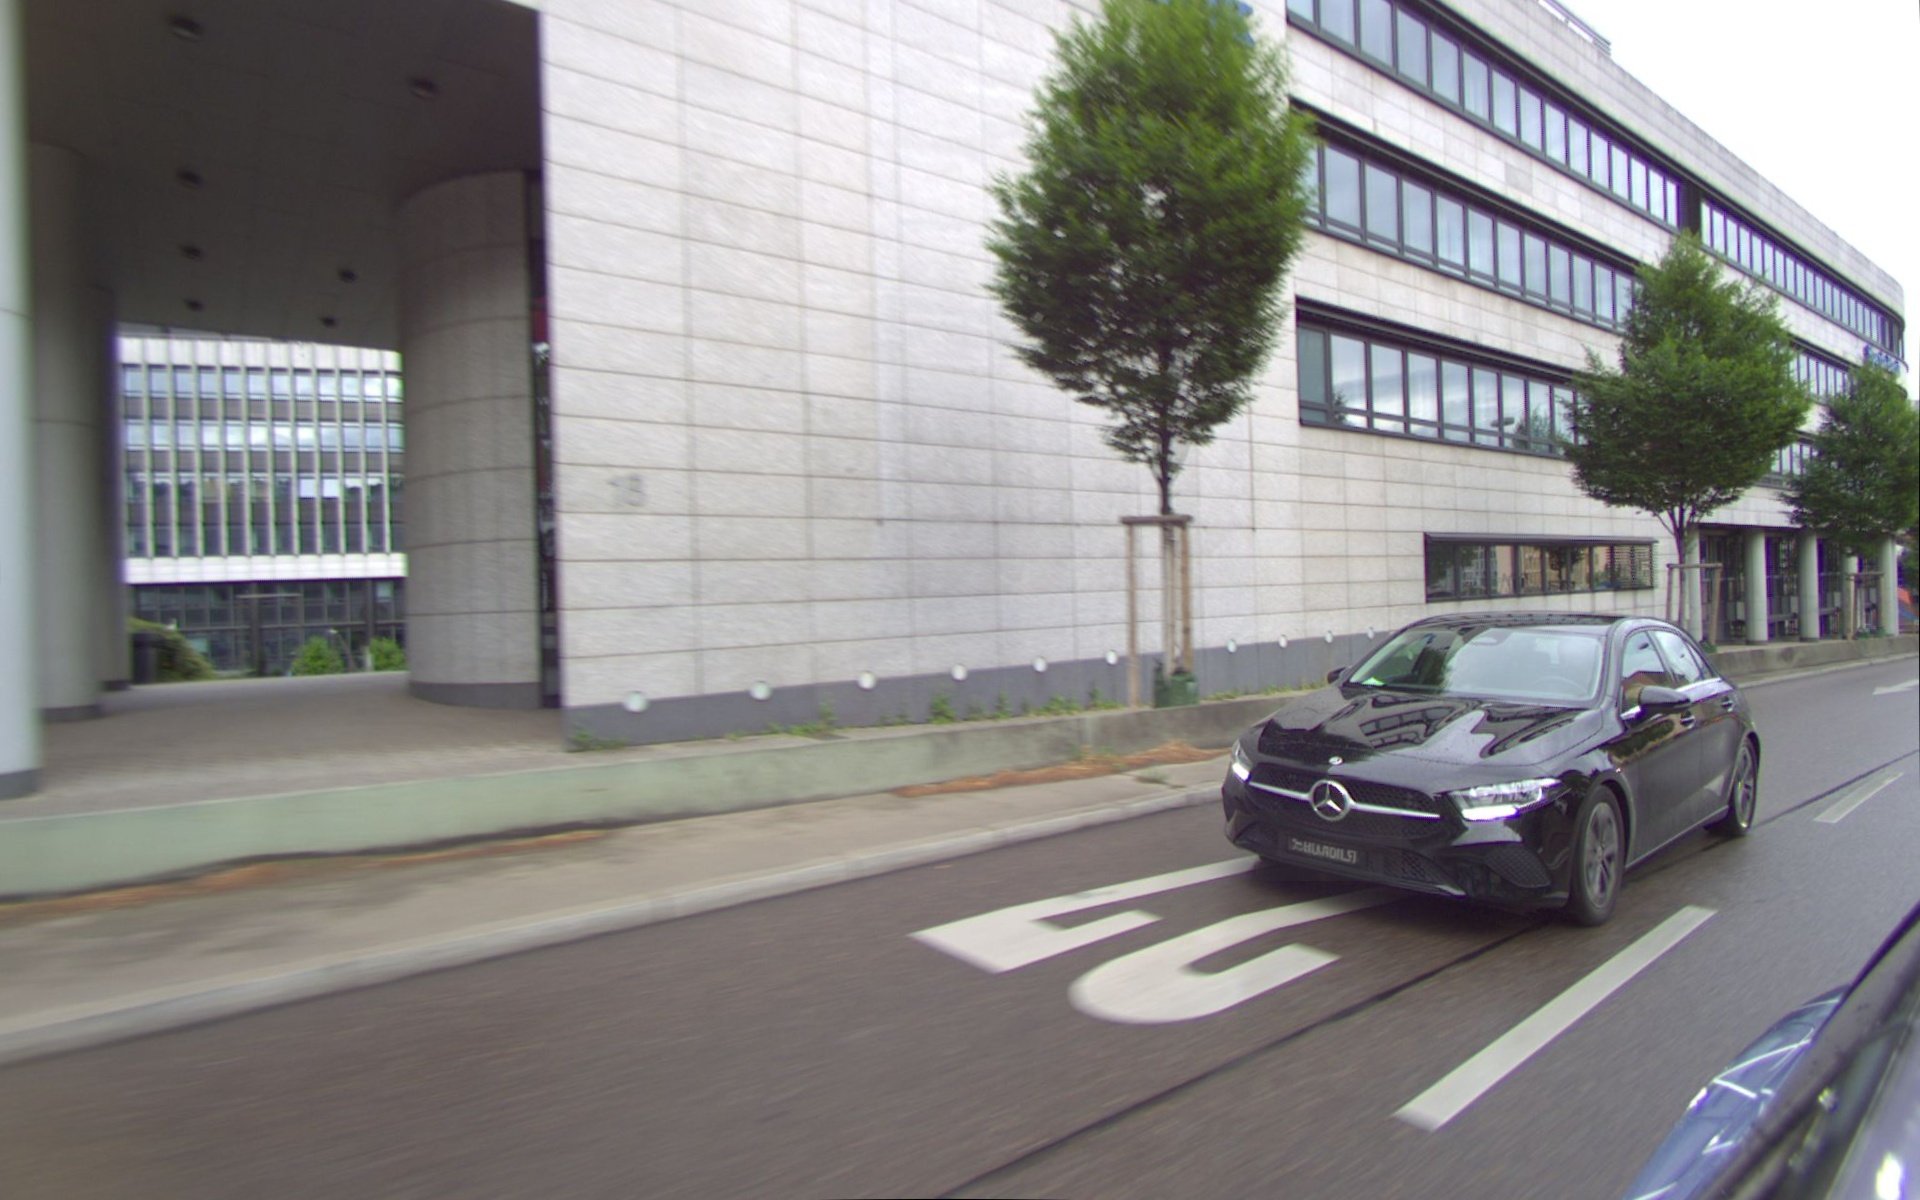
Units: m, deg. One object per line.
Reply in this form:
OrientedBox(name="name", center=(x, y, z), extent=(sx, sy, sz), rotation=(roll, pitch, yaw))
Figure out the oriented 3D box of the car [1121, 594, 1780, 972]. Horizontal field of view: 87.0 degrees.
OrientedBox(name="car", center=(3.049, 0.710, 5.928), extent=(4.128, 1.455, 1.877), rotation=(0, 0, -38))
